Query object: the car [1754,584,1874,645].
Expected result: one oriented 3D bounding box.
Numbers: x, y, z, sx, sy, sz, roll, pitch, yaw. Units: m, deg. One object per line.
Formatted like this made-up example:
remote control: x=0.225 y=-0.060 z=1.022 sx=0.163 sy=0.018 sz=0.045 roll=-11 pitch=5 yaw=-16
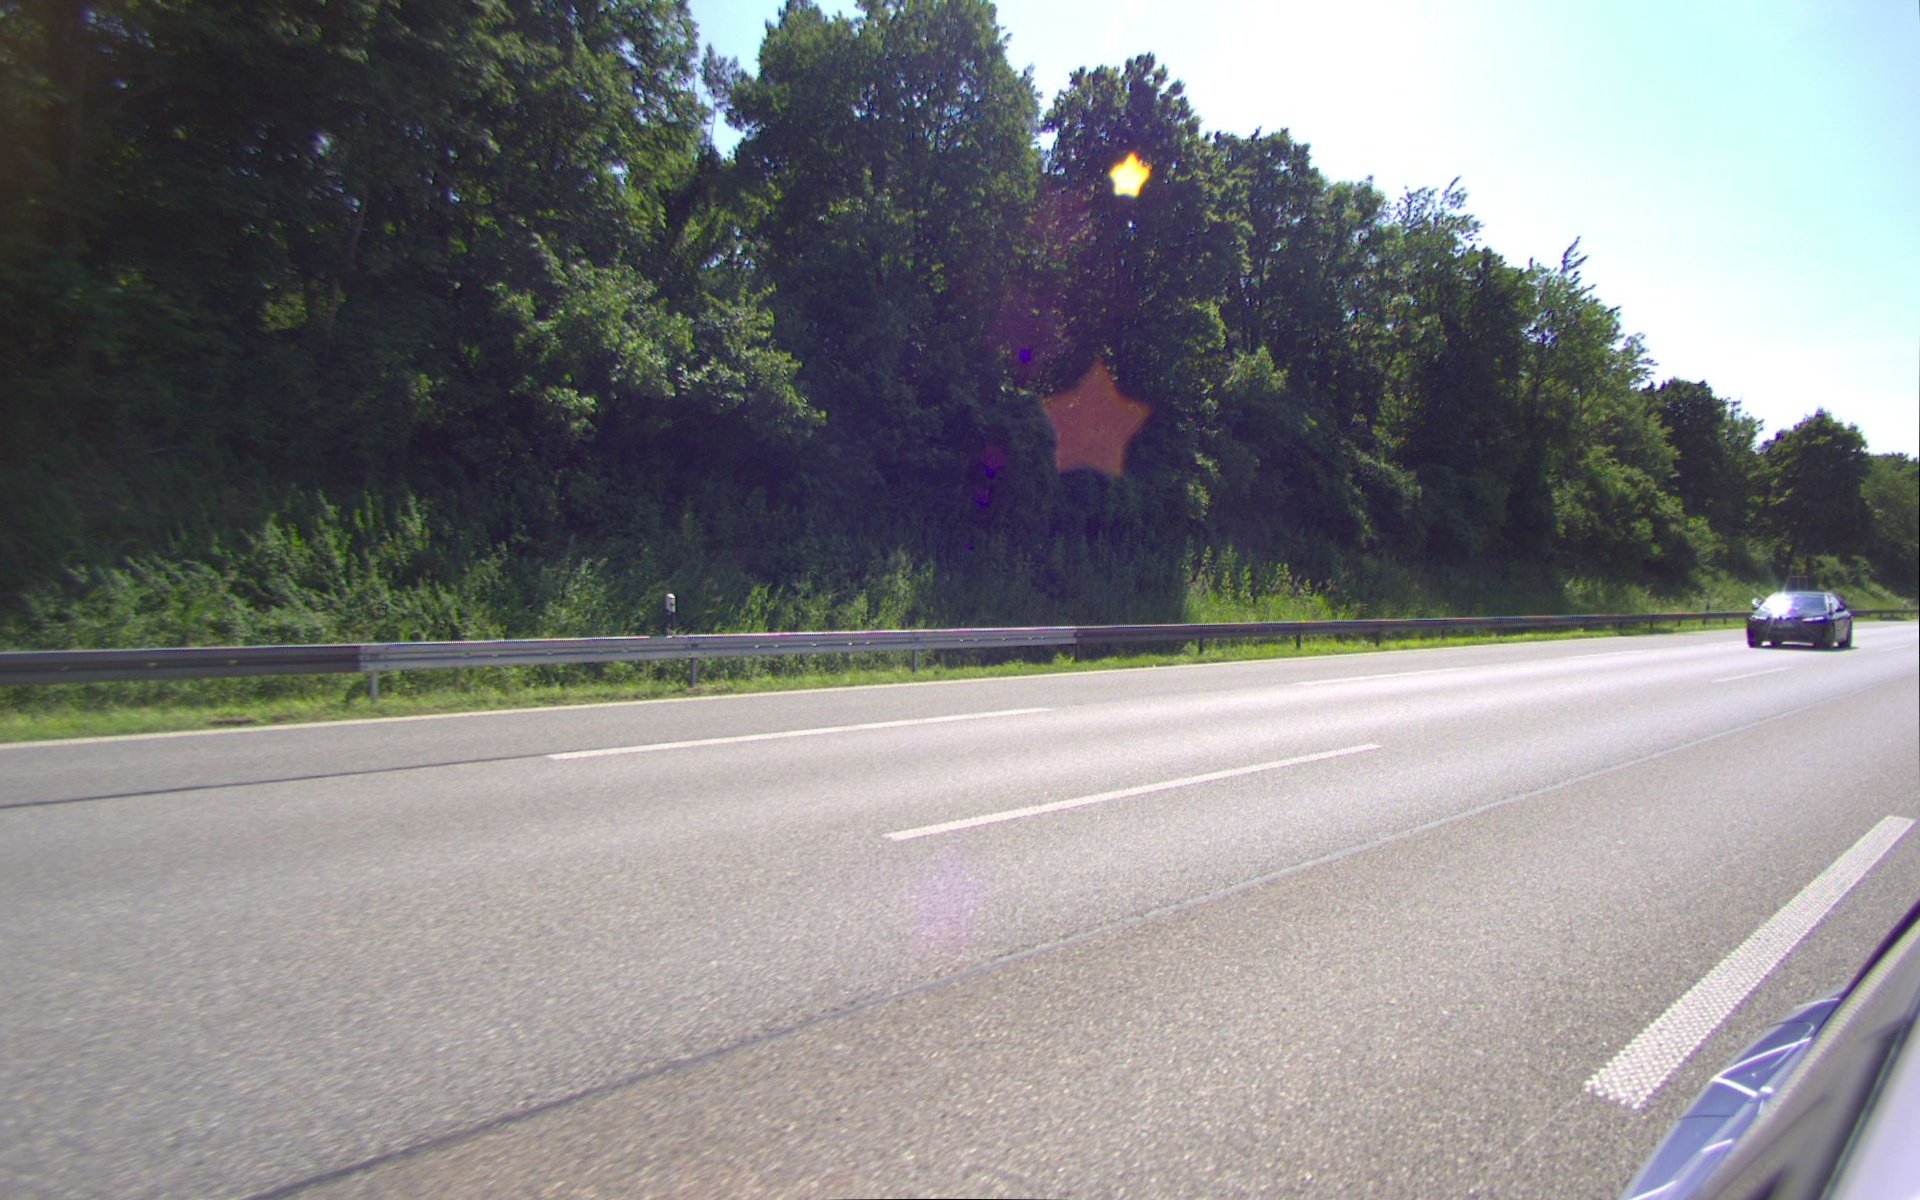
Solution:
car: x=25.676 y=0.388 z=30.391 sx=4.602 sy=1.690 sz=1.924 roll=0 pitch=0 yaw=-39
